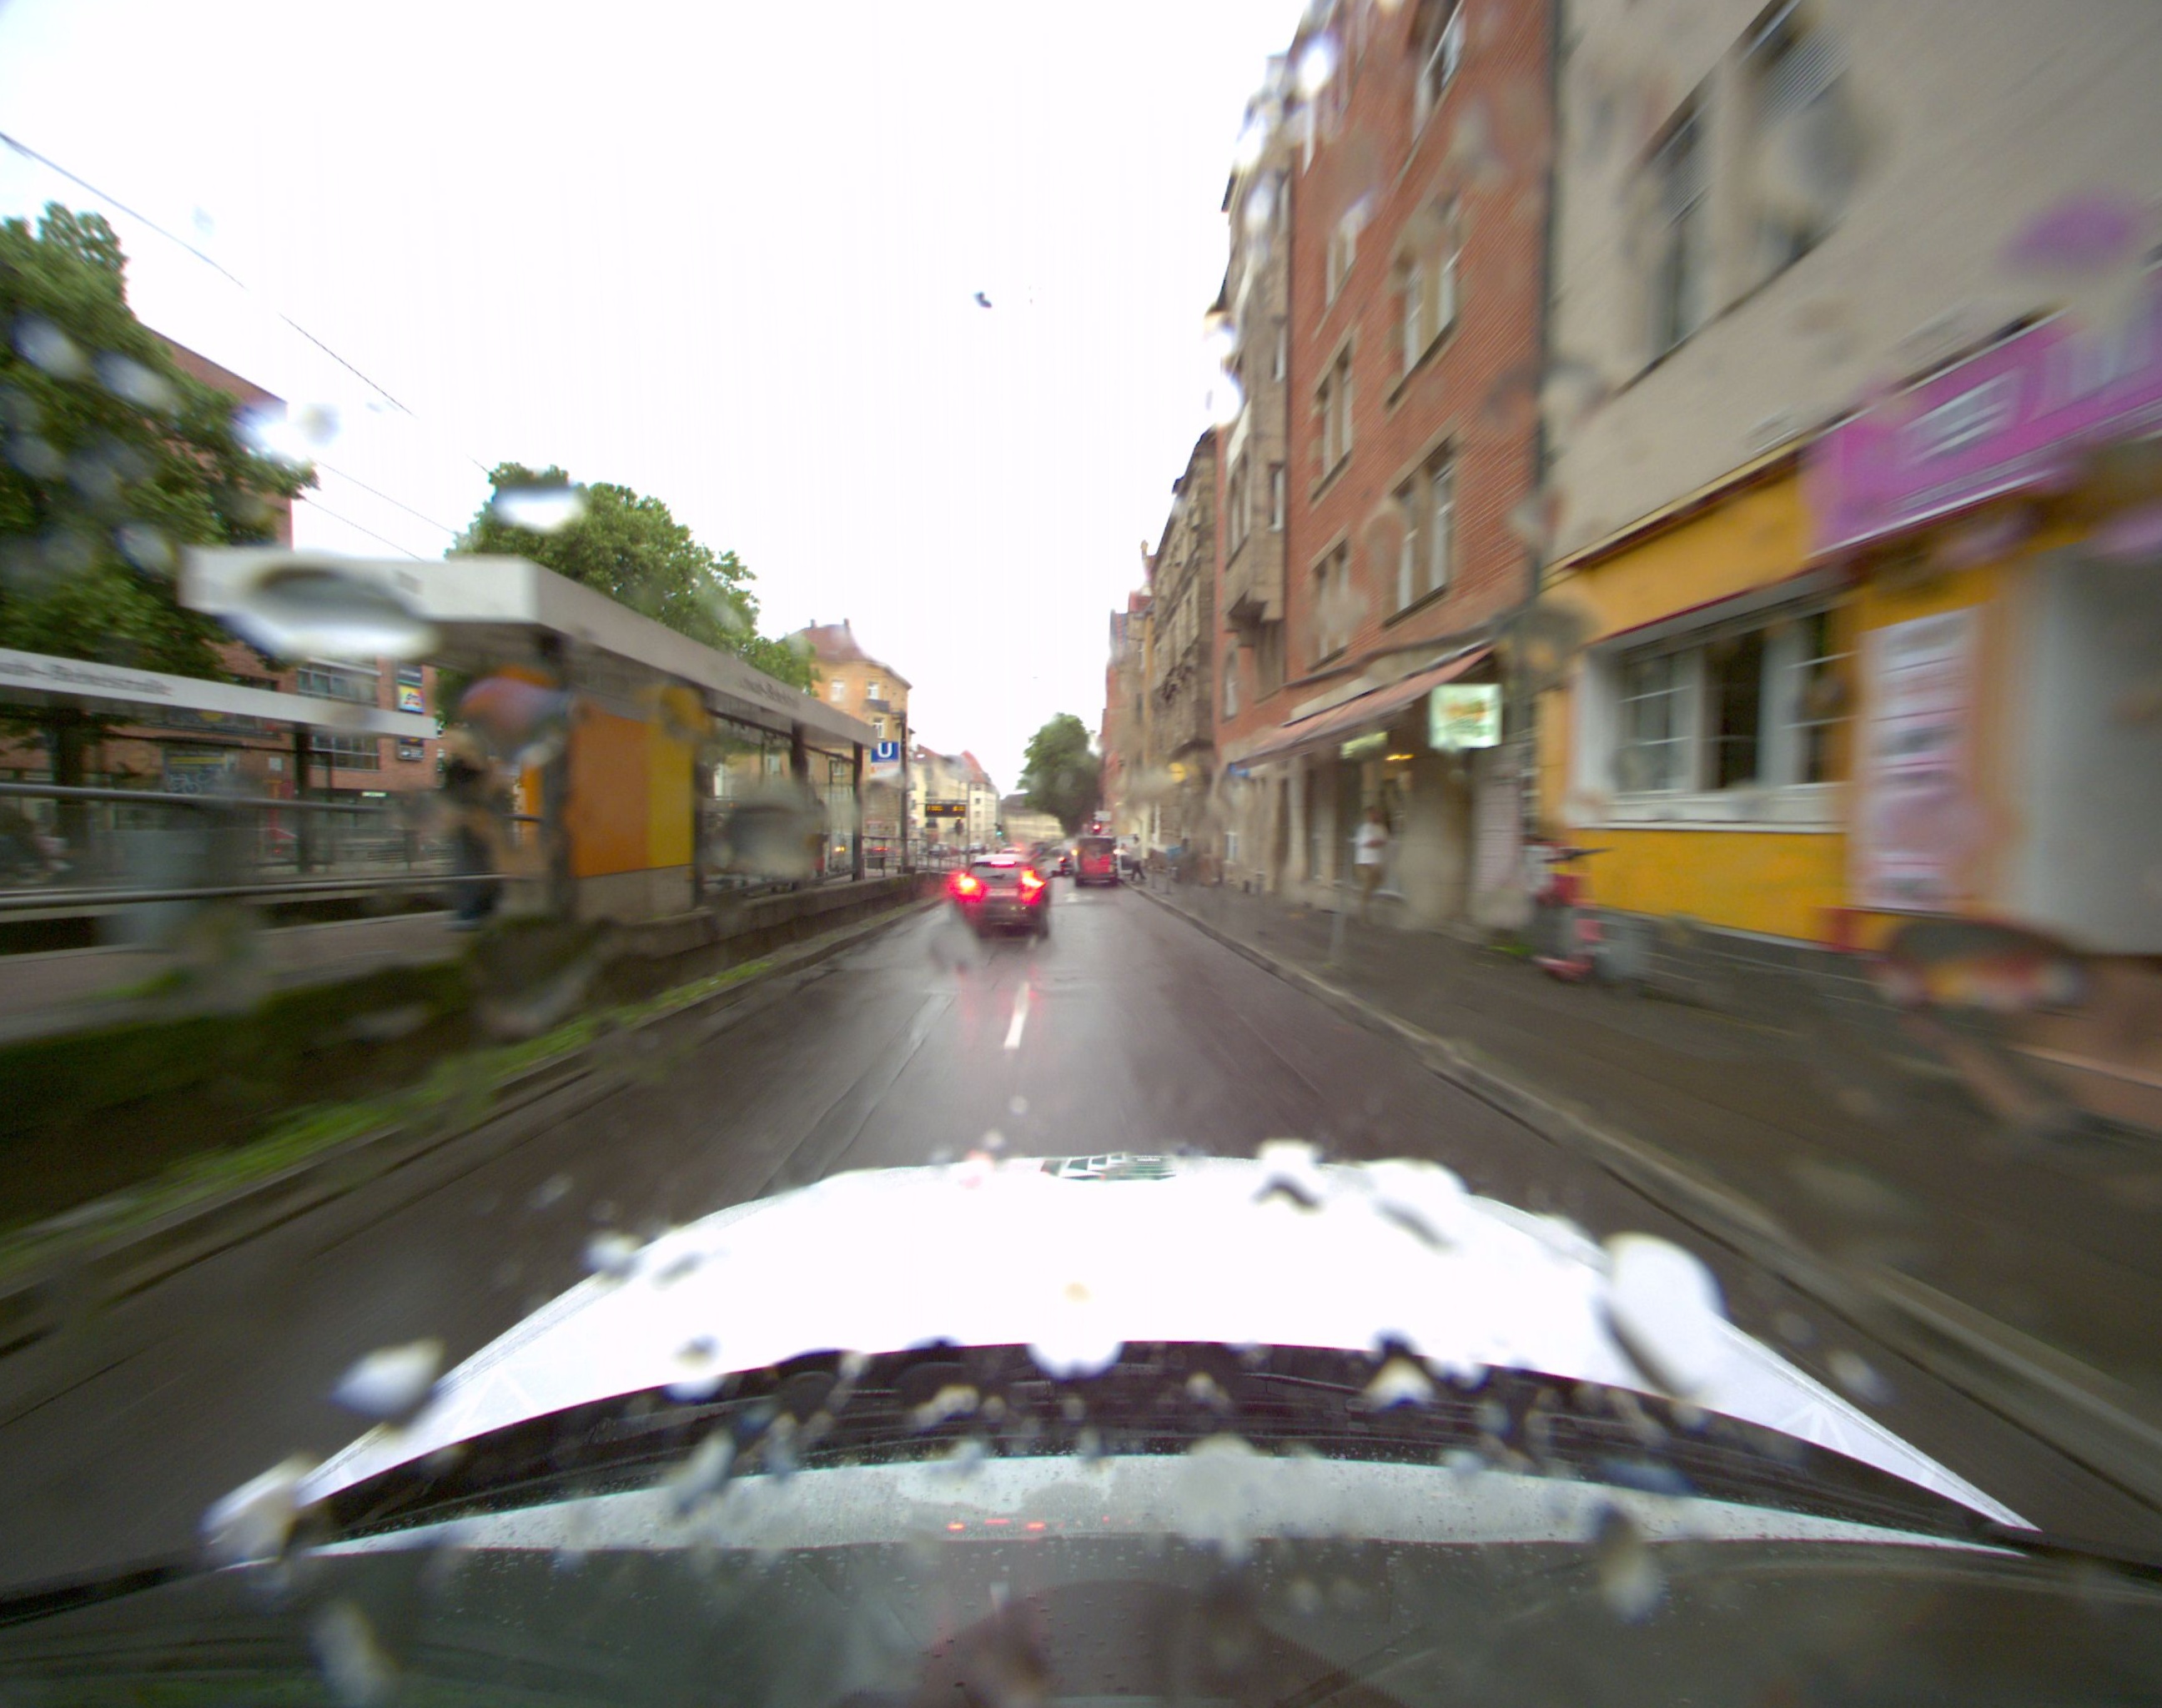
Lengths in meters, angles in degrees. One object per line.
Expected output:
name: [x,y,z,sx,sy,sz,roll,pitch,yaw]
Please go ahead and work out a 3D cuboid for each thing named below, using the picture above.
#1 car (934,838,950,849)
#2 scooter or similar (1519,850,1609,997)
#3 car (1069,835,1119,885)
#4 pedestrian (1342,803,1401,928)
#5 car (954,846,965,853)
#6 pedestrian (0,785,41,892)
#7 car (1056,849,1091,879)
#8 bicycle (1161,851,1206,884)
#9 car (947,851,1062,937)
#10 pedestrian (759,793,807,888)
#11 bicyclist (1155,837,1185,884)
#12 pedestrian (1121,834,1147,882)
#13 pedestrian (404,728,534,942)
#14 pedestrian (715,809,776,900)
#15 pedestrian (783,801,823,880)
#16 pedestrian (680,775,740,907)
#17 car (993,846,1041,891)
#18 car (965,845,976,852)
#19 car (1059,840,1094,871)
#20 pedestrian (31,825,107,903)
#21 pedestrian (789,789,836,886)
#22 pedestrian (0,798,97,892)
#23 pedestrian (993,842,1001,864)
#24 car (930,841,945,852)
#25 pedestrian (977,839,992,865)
car: [-18.739,-1.414,110.032,1.783,1.530,4.455,0,1,-5]
scooter or similar: [4.424,0.589,7.513,0.256,1.221,1.197,0,1,8]
car: [0.474,0.190,33.699,1.915,1.935,4.684,0,1,-1]
pedestrian: [4.421,0.163,12.437,0.576,1.830,0.563,-4,0,-4]
car: [-19.258,-0.674,129.063,1.433,1.106,3.160,0,1,-1]
pedestrian: [-14.170,-0.211,10.481,0.775,1.362,0.563,1,1,-4]
car: [-0.354,0.479,43.720,1.707,1.469,4.283,0,1,1]
bicycle: [3.703,0.472,29.346,1.696,1.115,0.460,-2,1,-34]
car: [-1.352,0.674,15.887,1.889,1.390,3.999,0,1,-1]
pedestrian: [-5.063,-0.236,13.867,0.611,1.581,0.507,0,1,1]
bicyclist: [3.233,0.219,29.610,0.853,1.657,0.625,-2,1,-30]
pedestrian: [2.008,0.153,30.638,0.833,1.753,0.685,-1,1,-8]
pedestrian: [-4.859,-0.150,6.492,0.492,1.605,0.639,0,1,15]
pedestrian: [-4.591,-0.002,11.173,0.611,1.226,0.507,0,1,1]
pedestrian: [-5.577,-0.274,16.379,0.611,1.581,0.507,0,1,1]
pedestrian: [-4.577,-0.159,10.073,0.504,1.589,0.527,0,1,-2]
car: [-2.353,0.495,30.462,1.676,1.489,3.609,-1,1,-4]
car: [-19.353,-0.979,142.760,1.391,1.171,3.160,0,1,-1]
car: [-0.307,0.047,51.053,1.929,1.831,4.275,0,1,-4]
pedestrian: [-26.557,0.247,21.393,0.729,2.013,0.982,0,1,4]
pedestrian: [-4.749,-0.294,14.419,0.611,1.688,0.587,0,1,2]
pedestrian: [-14.155,-0.124,11.118,0.702,1.240,0.563,1,1,-4]
pedestrian: [-5.702,-0.064,55.096,0.531,1.530,0.435,0,1,-10]
car: [-18.238,-0.917,103.573,1.448,1.318,3.292,1,1,-3]
pedestrian: [-6.553,-0.125,55.270,0.732,1.724,0.745,1,1,45]
